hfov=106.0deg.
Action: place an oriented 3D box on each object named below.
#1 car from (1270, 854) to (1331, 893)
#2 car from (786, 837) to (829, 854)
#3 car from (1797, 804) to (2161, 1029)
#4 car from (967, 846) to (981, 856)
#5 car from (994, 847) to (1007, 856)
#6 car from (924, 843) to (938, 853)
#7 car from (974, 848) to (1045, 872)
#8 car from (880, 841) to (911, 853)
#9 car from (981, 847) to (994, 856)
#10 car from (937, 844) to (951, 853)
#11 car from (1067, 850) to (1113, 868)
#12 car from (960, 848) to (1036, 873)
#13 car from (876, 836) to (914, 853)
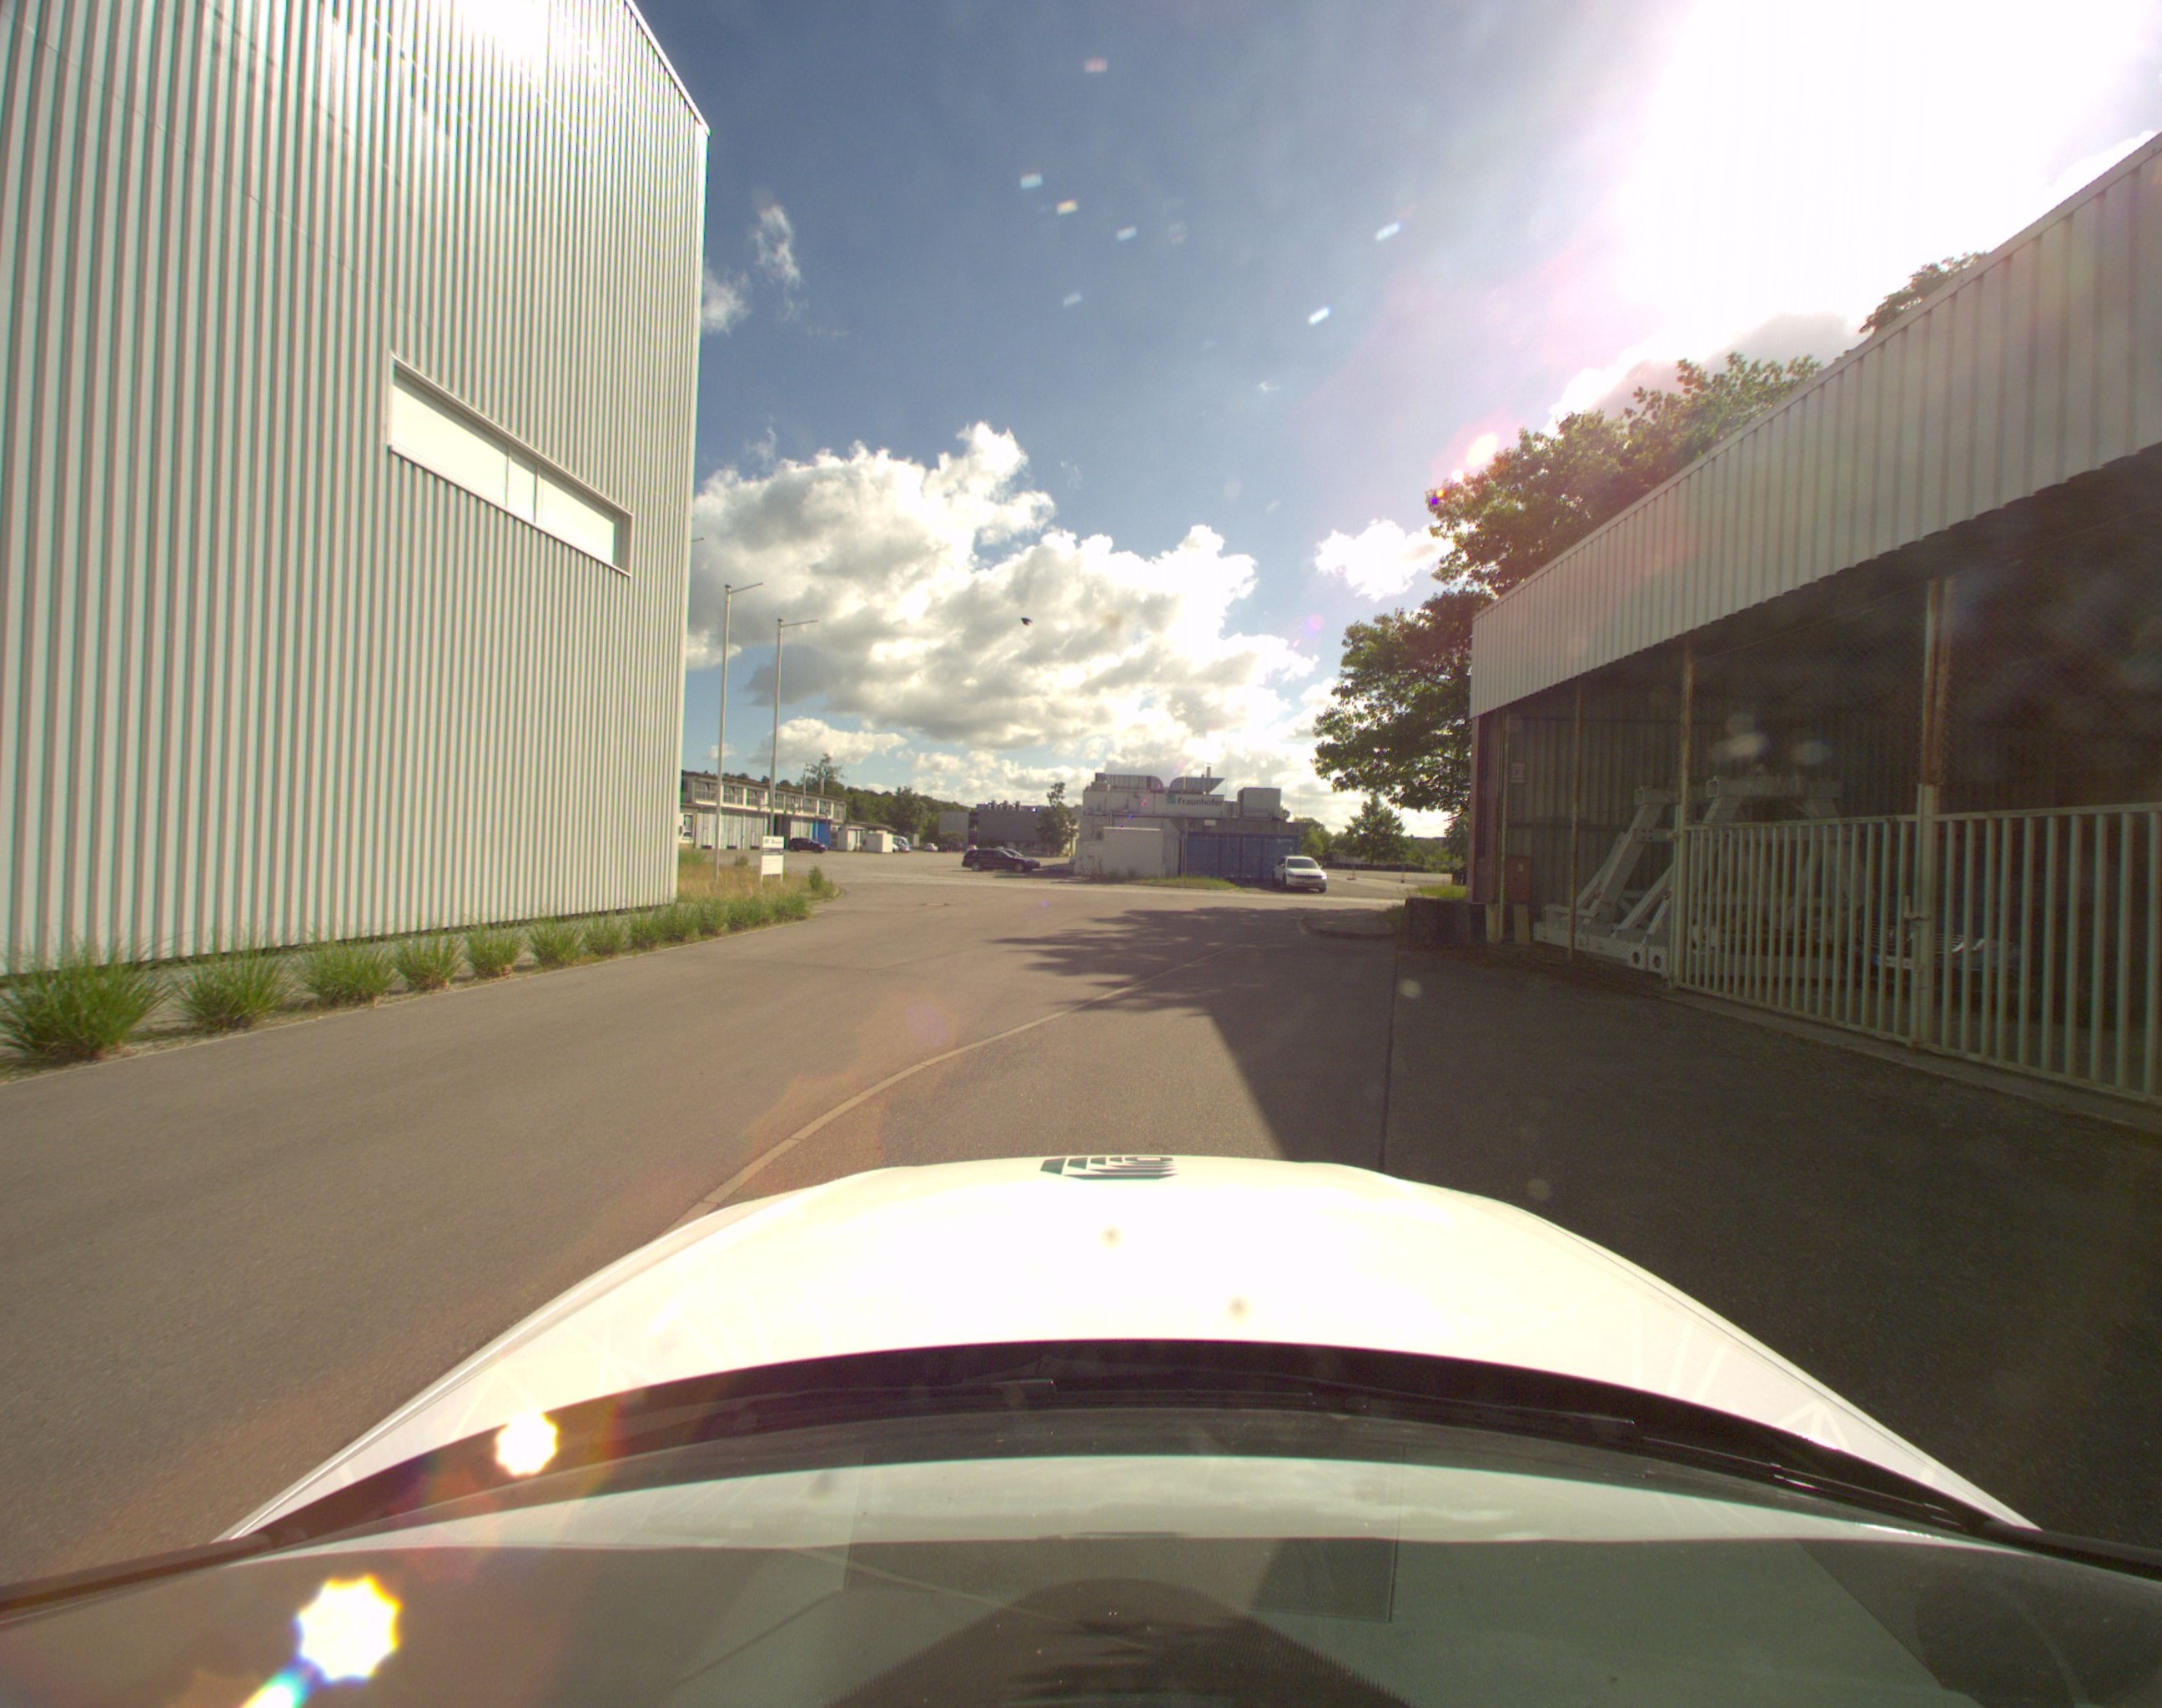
[{"bbox_3d":[10.399,0.884,38.858,1.972,1.593,4.345,2,1,4],"label":"car"},{"bbox_3d":[-30.486,-0.961,90.826,4.146,1.666,1.784,4,0,2],"label":"car"},{"bbox_3d":[10.820,0.608,8.290,5.151,1.918,2.277,2,0,-2],"label":"car"},{"bbox_3d":[-19.763,-0.556,150.401,1.870,1.689,4.037,0,0,2],"label":"car"},{"bbox_3d":[-14.891,-0.469,150.197,1.870,1.537,4.037,0,0,2],"label":"car"},{"bbox_3d":[-27.745,-1.114,150.726,1.841,1.668,4.131,0,0,-1],"label":"car"},{"bbox_3d":[-4.846,0.421,55.616,4.509,1.443,1.906,2,-2,4],"label":"car"},{"bbox_3d":[-28.330,-1.038,124.232,4.087,1.630,1.812,2,0,8],"label":"car"},{"bbox_3d":[-17.221,-0.475,150.106,1.870,1.537,4.037,0,0,2],"label":"car"},{"bbox_3d":[-25.314,-1.044,150.470,1.872,1.537,4.034,0,0,-1],"label":"car"},{"bbox_3d":[0.908,0.489,79.844,4.260,1.569,1.989,2,-2,4],"label":"car"},{"bbox_3d":[-5.310,0.417,52.376,4.509,1.443,1.989,2,-2,4],"label":"car"},{"bbox_3d":[-29.085,-1.517,127.226,5.229,2.442,2.054,2,0,8],"label":"car"}]
